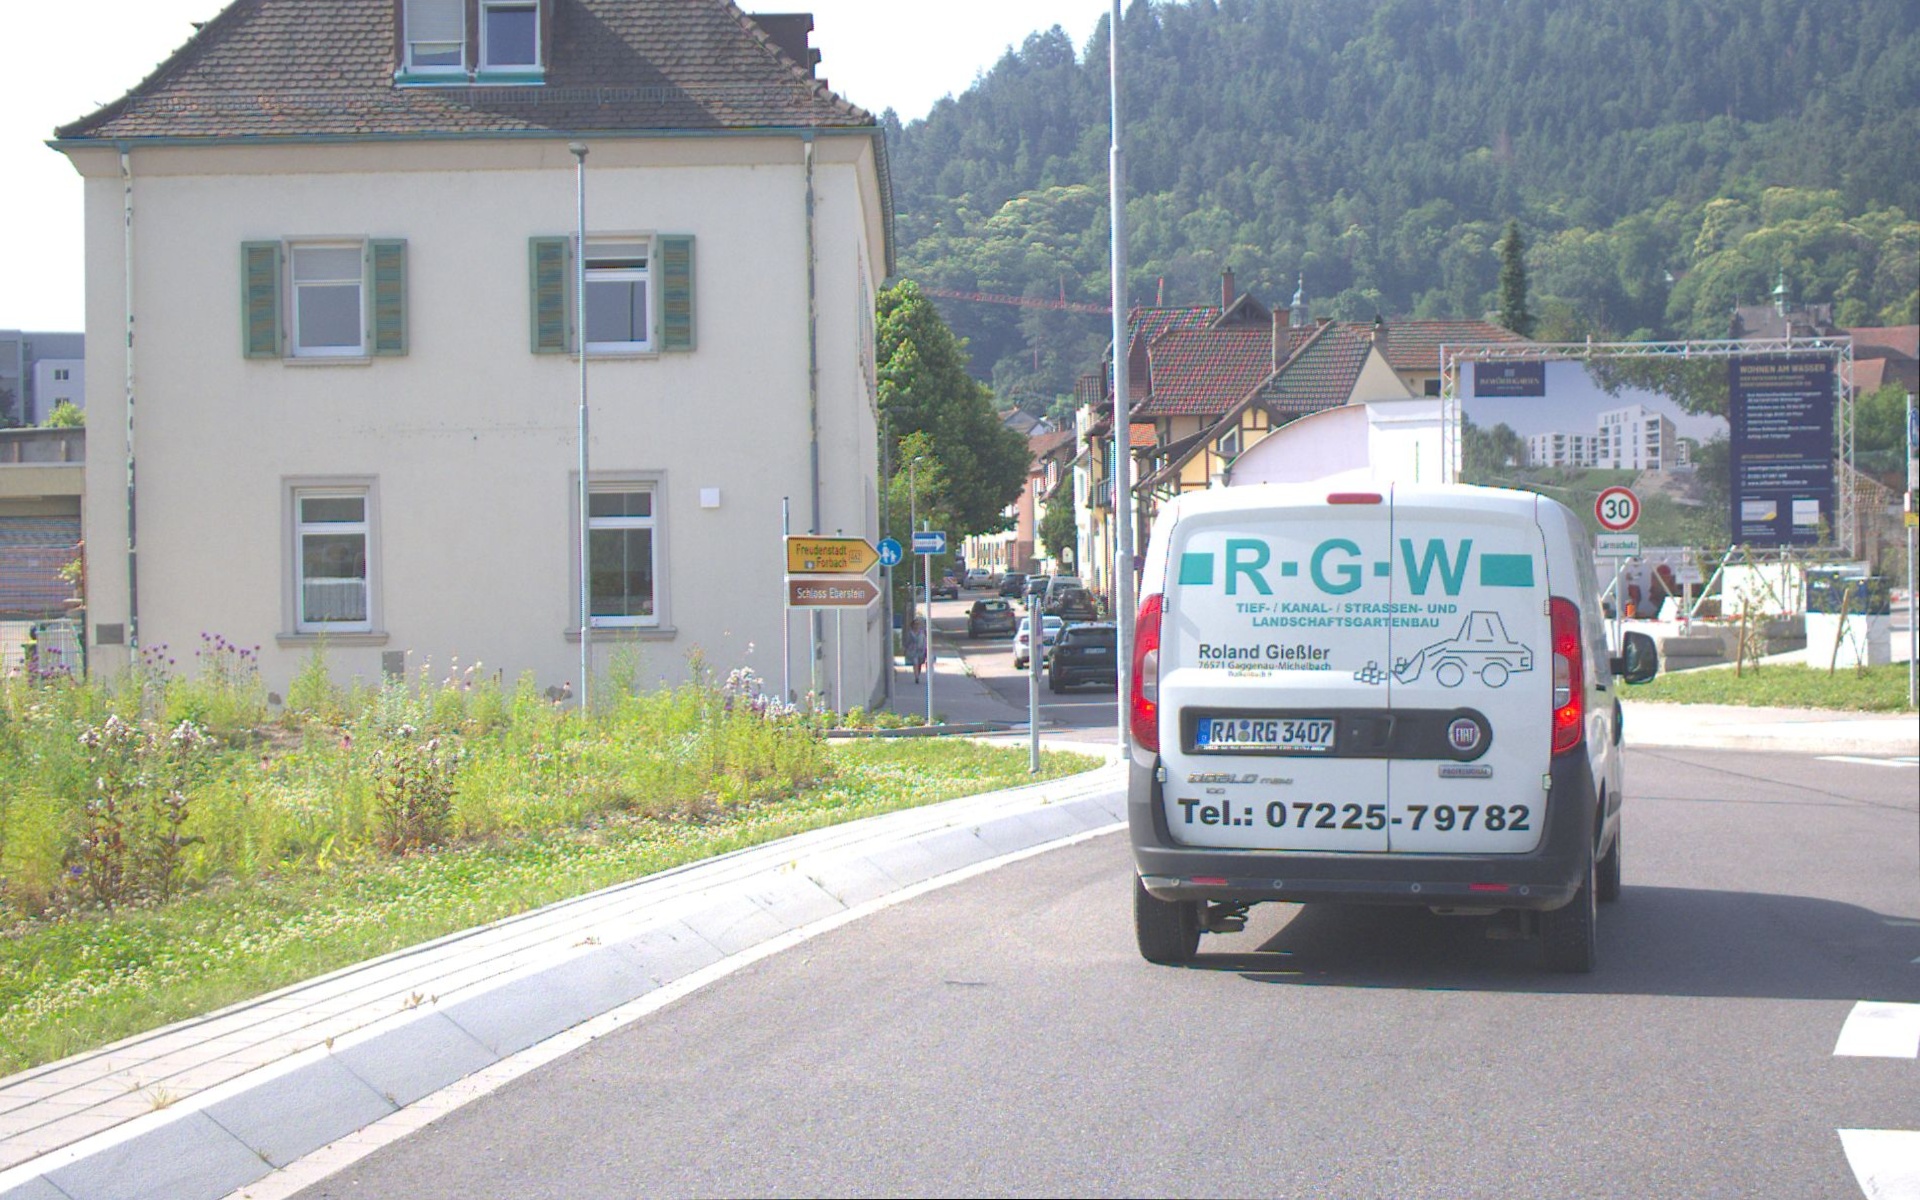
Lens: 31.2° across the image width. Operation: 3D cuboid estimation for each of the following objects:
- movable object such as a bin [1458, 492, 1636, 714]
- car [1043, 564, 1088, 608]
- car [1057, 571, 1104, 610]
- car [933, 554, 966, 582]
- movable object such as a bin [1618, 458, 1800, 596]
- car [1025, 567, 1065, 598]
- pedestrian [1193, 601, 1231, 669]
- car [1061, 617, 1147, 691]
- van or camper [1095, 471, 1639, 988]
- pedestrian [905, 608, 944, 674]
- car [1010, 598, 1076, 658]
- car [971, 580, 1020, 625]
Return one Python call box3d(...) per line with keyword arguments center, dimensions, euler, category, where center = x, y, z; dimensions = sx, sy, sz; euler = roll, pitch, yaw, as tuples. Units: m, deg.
box3d(center=(10.853, 0.038, 64.150), dimensions=(2.295, 3.841, 7.798), euler=(1, 0, 3), category="movable object such as a bin")
box3d(center=(4.873, -0.670, 158.926), dimensions=(1.871, 2.007, 4.000), euler=(0, 1, -2), category="car")
box3d(center=(5.206, -0.424, 148.853), dimensions=(1.810, 1.591, 3.927), euler=(1, 1, -1), category="car")
box3d(center=(-0.661, -1.956, 208.082), dimensions=(1.810, 1.591, 3.927), euler=(1, 1, -3), category="car")
box3d(center=(20.432, -1.974, 93.571), dimensions=(2.855, 3.609, 5.725), euler=(2, 2, 34), category="movable object such as a bin")
box3d(center=(4.326, -0.887, 175.377), dimensions=(1.669, 1.503, 4.001), euler=(-2, 1, -3), category="car")
box3d(center=(6.374, 0.882, 86.889), dimensions=(0.888, 1.677, 0.718), euler=(1, -1, -1), category="pedestrian")
box3d(center=(3.410, 1.263, 81.978), dimensions=(1.810, 1.591, 3.927), euler=(1, 1, -1), category="car")
box3d(center=(1.861, 0.460, 14.486), dimensions=(1.829, 1.838, 4.186), euler=(0, 0, 13), category="van or camper")
box3d(center=(-0.884, 1.016, 85.420), dimensions=(0.958, 1.625, 0.758), euler=(0, 0, -1), category="pedestrian")
box3d(center=(2.380, 0.789, 99.110), dimensions=(1.810, 1.591, 3.927), euler=(1, 1, 1), category="car")
box3d(center=(1.354, 0.079, 131.468), dimensions=(1.810, 1.591, 3.927), euler=(1, 1, 1), category="car")
